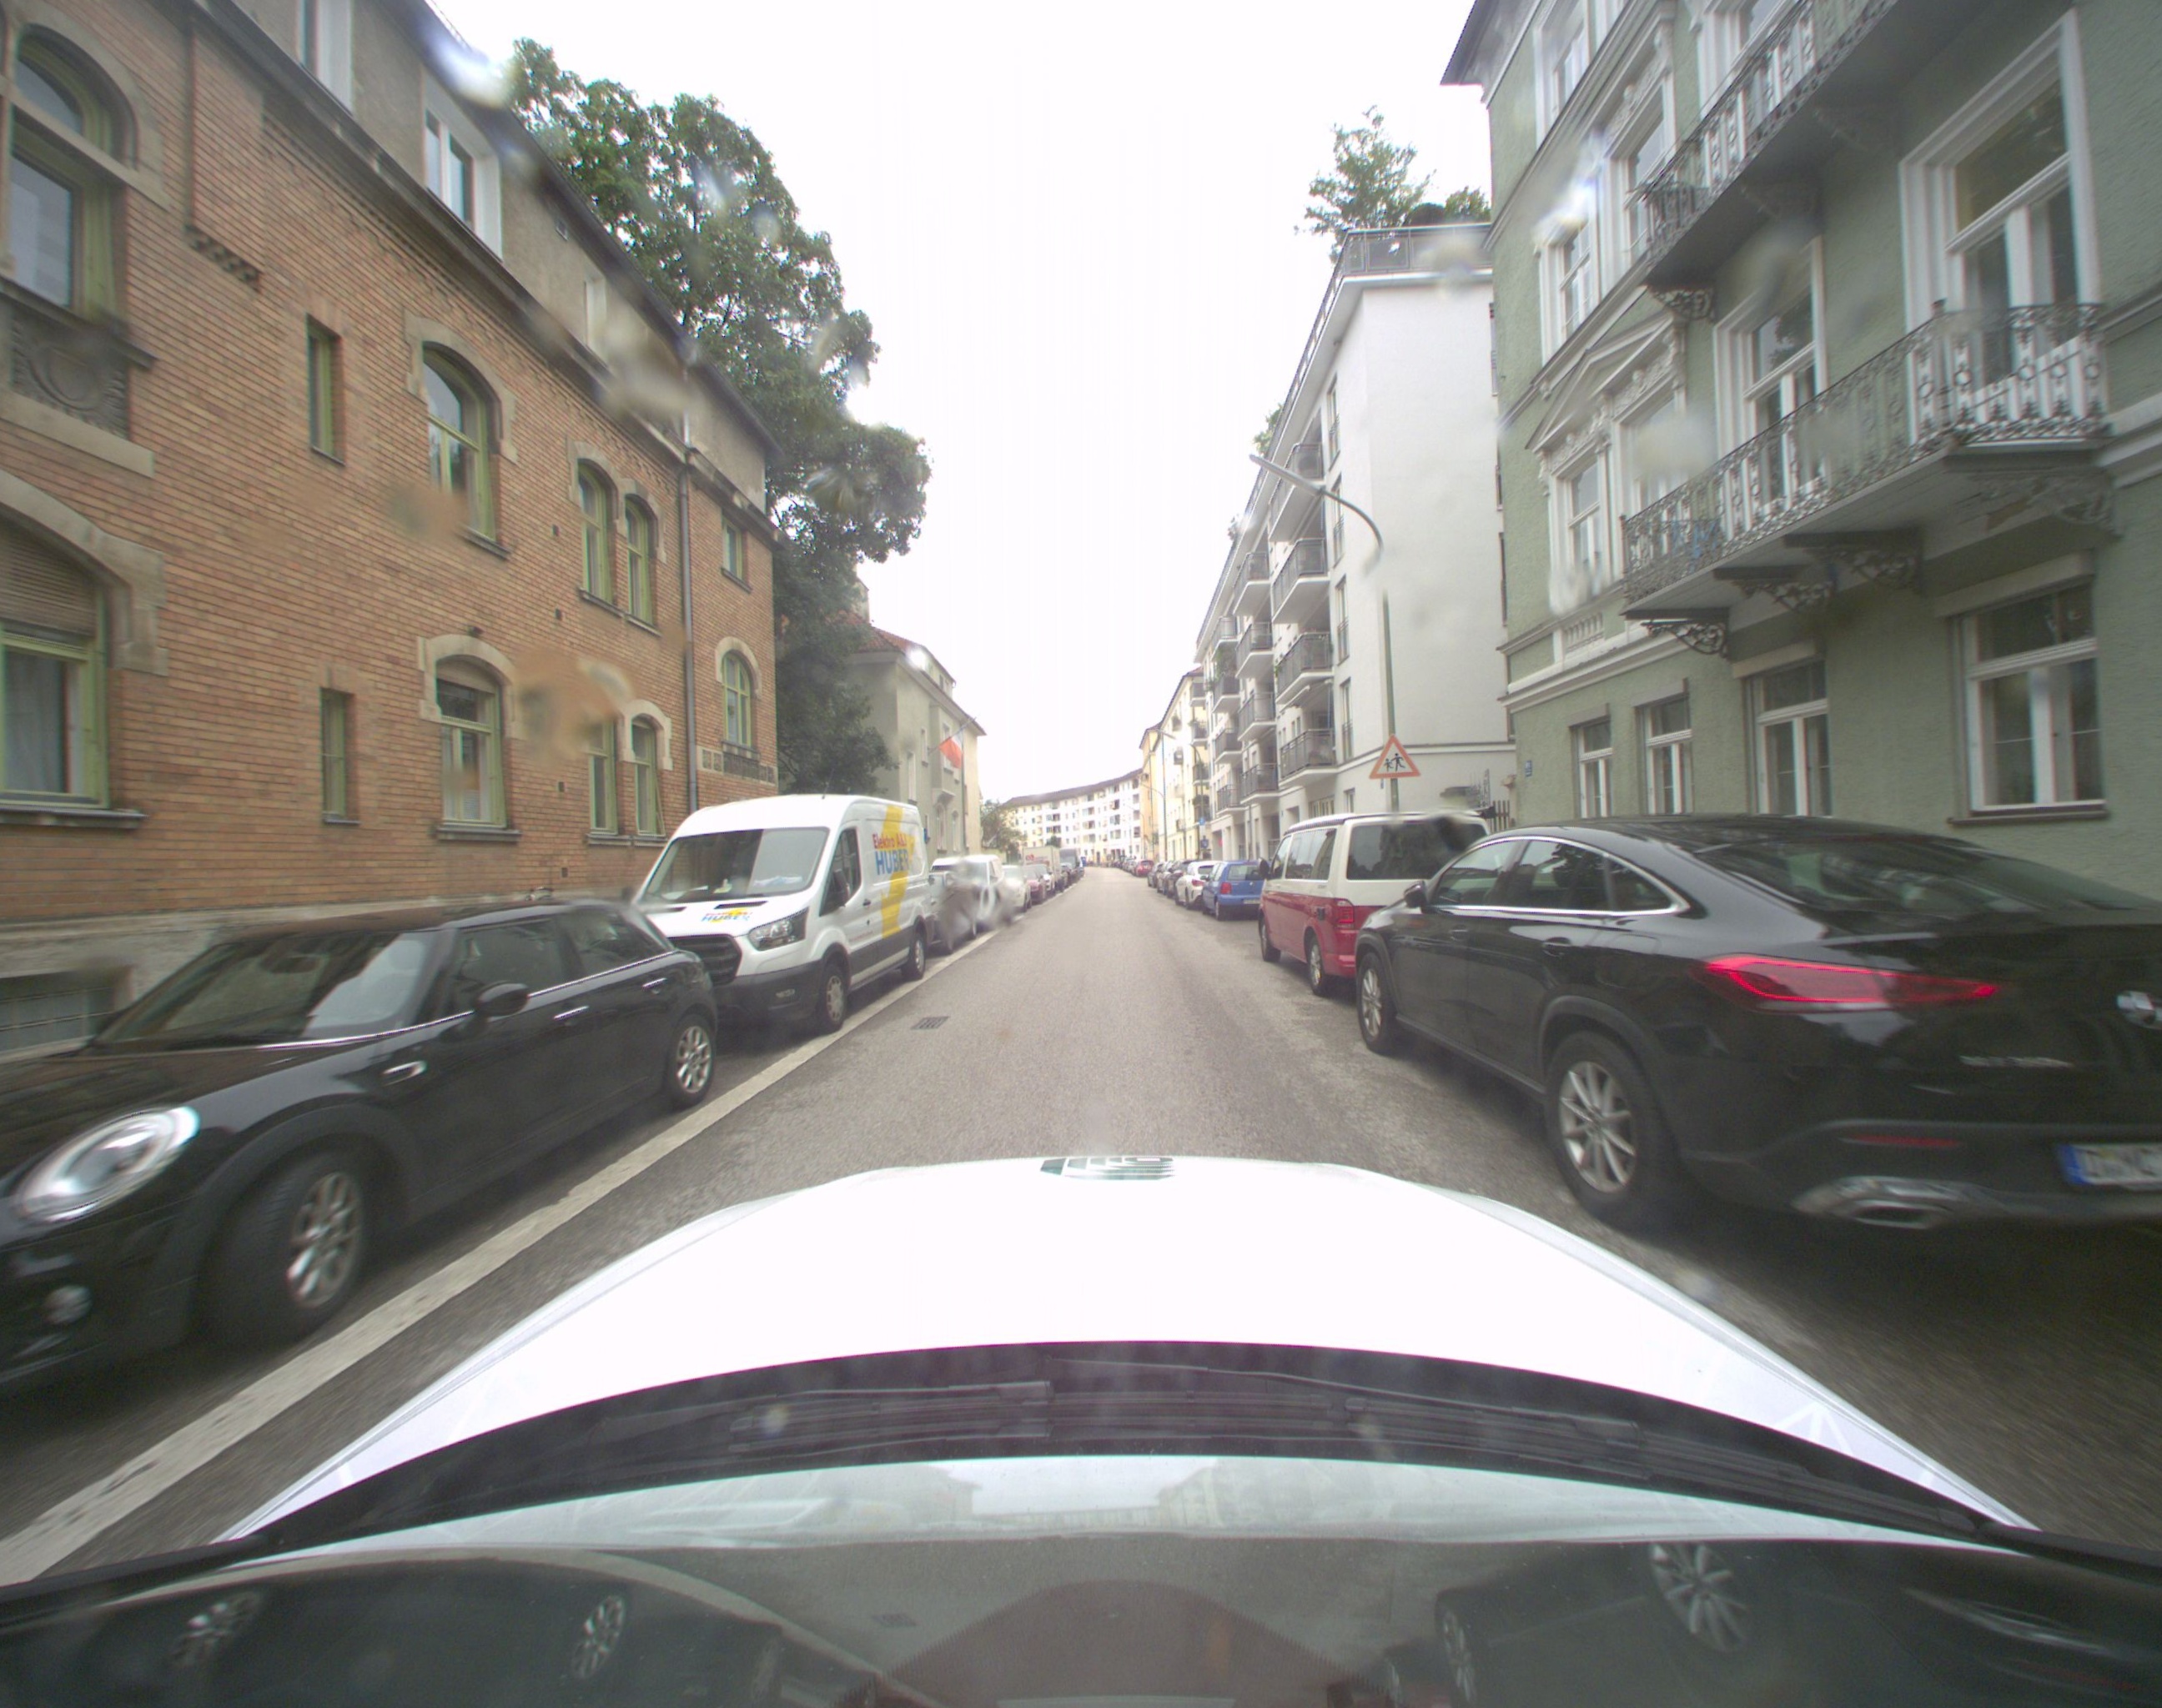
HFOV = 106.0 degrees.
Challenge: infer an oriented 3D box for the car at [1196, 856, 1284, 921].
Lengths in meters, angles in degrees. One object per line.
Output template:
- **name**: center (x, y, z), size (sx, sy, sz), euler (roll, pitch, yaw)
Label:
- **car**: center (3.924, 0.820, 20.598), size (1.602, 1.434, 3.621), euler (-3, -1, 2)

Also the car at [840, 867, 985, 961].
- **car**: center (-2.997, 1.009, 15.309), size (1.738, 1.445, 4.001), euler (-3, -1, 1)

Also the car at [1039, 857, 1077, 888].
- **car**: center (-1.430, 1.158, 51.731), size (1.985, 1.762, 4.384), euler (-3, -1, 3)

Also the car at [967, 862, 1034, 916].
- **car**: center (-2.532, 1.088, 26.532), size (1.841, 1.540, 3.997), euler (-3, -1, -2)

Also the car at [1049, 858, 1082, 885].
- **car**: center (-1.073, 1.237, 58.316), size (1.985, 1.762, 4.384), euler (-3, -1, 3)

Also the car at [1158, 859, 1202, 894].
- **car**: center (4.442, 0.981, 36.994), size (1.642, 1.434, 4.003), euler (-3, -1, 3)

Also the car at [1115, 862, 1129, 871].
- **car**: center (6.341, 1.957, 125.709), size (1.778, 1.385, 3.997), euler (-1, 0, -2)

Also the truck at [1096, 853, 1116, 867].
- **truck**: center (4.311, 1.089, 139.616), size (2.227, 2.300, 5.268), euler (-1, 0, -12)

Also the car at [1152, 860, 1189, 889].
- **car**: center (4.698, 1.058, 43.125), size (1.642, 1.434, 4.287), euler (-3, -1, 3)

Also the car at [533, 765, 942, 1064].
- **car**: center (-3.278, 0.530, 9.339), size (2.128, 2.349, 5.373), euler (-3, -1, 2)

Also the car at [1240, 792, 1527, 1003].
- **car**: center (3.412, 0.456, 10.332), size (1.863, 1.968, 4.817), euler (-3, -1, 1)

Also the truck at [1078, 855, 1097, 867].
- **truck**: center (1.249, 1.439, 160.814), size (2.624, 2.300, 5.416), euler (-2, 0, -13)

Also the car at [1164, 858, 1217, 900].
- **car**: center (4.106, 0.911, 31.061), size (1.642, 1.434, 4.003), euler (-3, -1, 3)

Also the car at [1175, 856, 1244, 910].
- **car**: center (3.860, 0.834, 24.939), size (1.642, 1.434, 4.003), euler (-3, -1, 3)

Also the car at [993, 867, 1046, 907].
- **car**: center (-2.294, 1.210, 31.242), size (1.746, 1.368, 3.997), euler (-3, -1, -2)

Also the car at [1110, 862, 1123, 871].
- **car**: center (5.788, 2.074, 132.049), size (1.778, 1.385, 3.997), euler (-1, 0, -2)

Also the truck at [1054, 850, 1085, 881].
- **truck**: center (-0.886, 0.901, 64.850), size (1.985, 2.319, 5.413), euler (-3, -1, 3)

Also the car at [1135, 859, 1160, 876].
- **car**: center (5.751, 1.191, 70.798), size (1.778, 1.385, 3.997), euler (-1, 0, -2)

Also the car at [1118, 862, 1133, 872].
- **car**: center (6.304, 1.799, 114.647), size (1.778, 1.385, 3.997), euler (-1, 0, -2)

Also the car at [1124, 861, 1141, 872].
- **car**: center (6.730, 1.655, 106.067), size (1.778, 1.385, 3.997), euler (-1, 0, -2)

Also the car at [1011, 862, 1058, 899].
- **car**: center (-2.068, 1.166, 36.885), size (1.789, 1.469, 3.867), euler (-3, -1, 0)

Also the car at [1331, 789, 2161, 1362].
- **car**: center (3.068, 0.626, 4.649), size (1.853, 1.551, 4.754), euler (-3, -1, 1)

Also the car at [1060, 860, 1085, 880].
- **car**: center (-0.772, 1.486, 76.539), size (1.985, 1.762, 4.384), euler (-3, -1, 3)

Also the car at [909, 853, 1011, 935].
- **car**: center (-2.840, 0.912, 19.925), size (1.815, 1.711, 3.999), euler (-3, -1, 0)

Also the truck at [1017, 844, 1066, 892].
- **truck**: center (-2.048, 0.732, 43.798), size (1.985, 2.319, 5.413), euler (-3, -1, 3)

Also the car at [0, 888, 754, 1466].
- **car**: center (-3.403, 0.993, 4.148), size (1.691, 1.431, 3.833), euler (-3, -1, 3)
